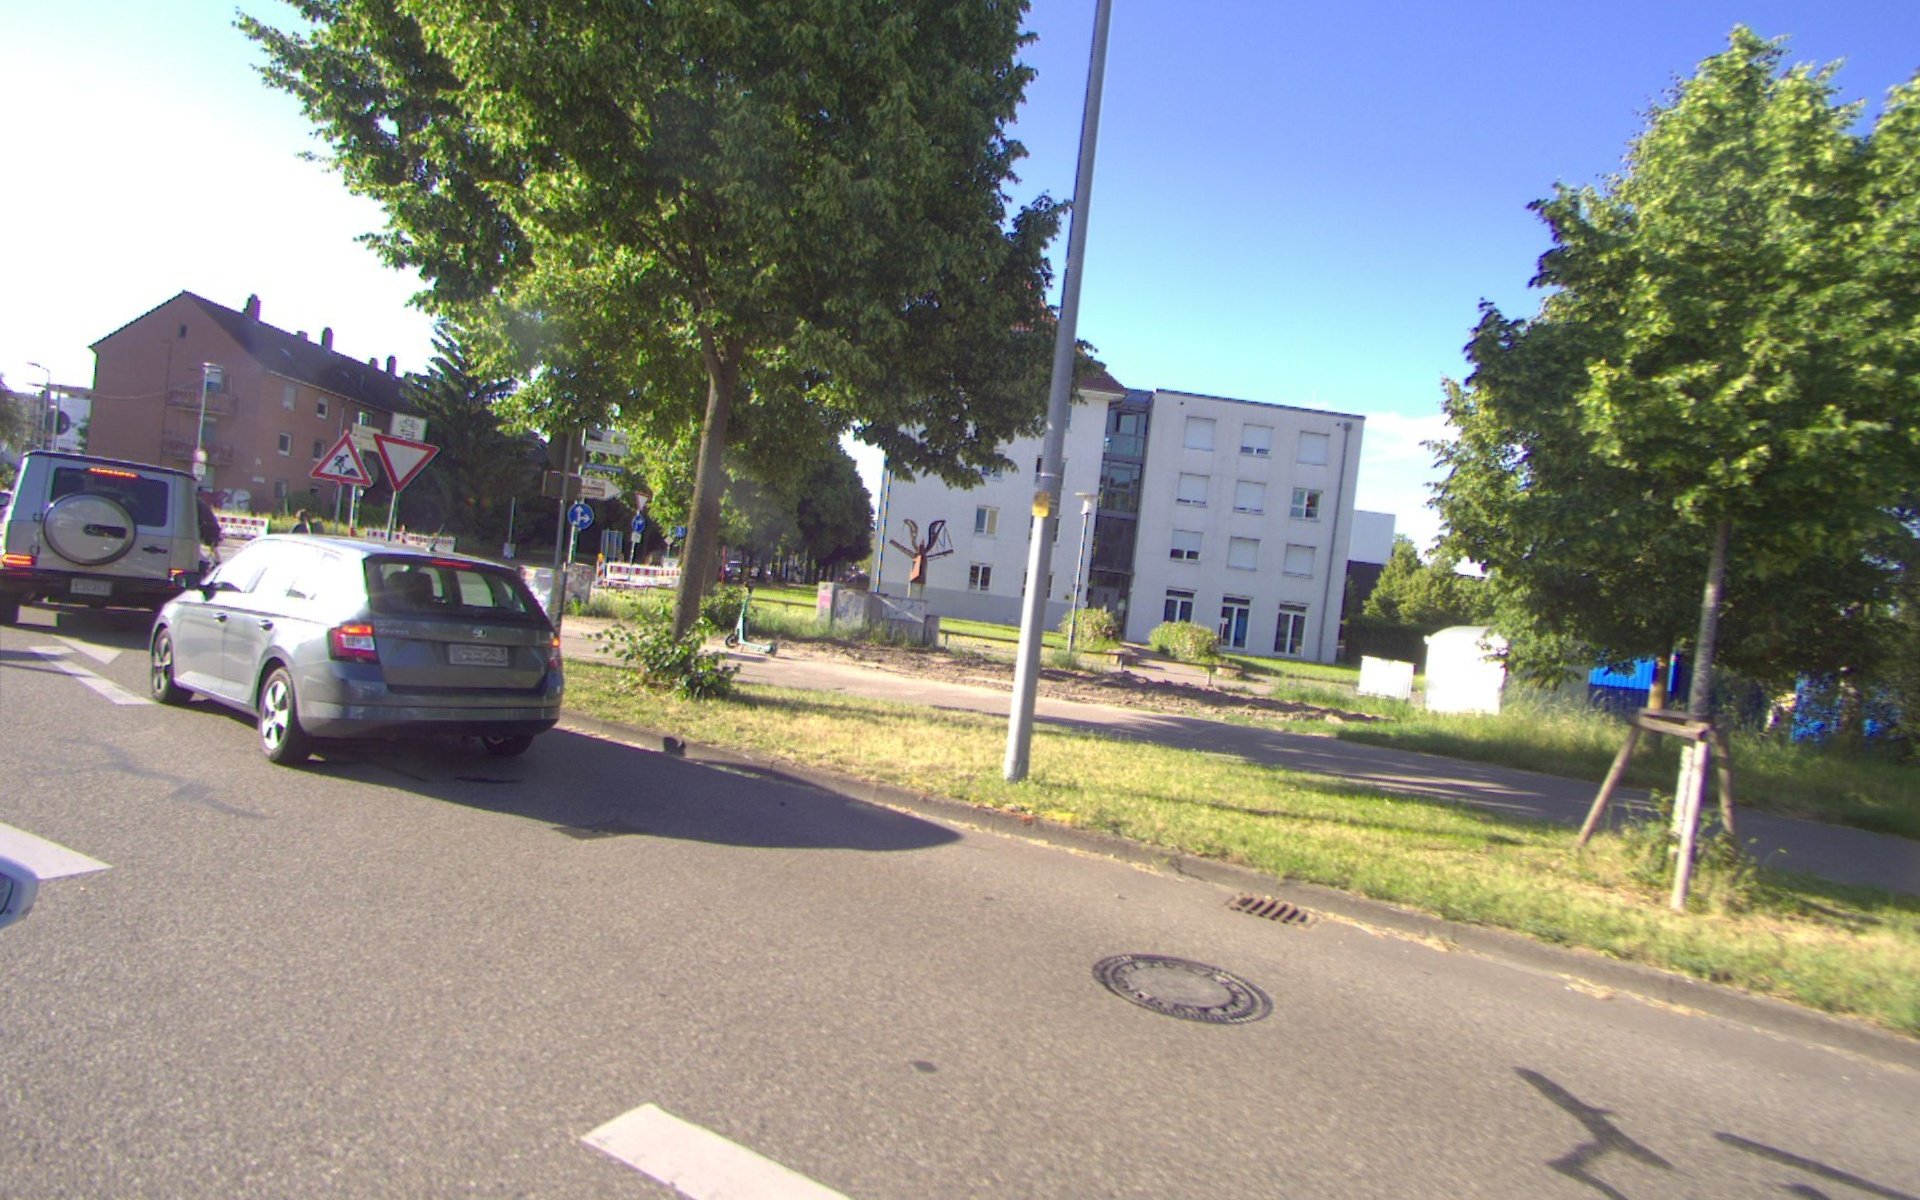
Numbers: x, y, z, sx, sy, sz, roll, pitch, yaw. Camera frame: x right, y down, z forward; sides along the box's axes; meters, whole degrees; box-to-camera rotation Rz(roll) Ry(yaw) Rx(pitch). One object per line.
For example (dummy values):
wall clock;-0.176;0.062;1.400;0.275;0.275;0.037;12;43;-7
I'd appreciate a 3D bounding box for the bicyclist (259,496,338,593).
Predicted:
bicyclist;-12.661;-1.050;19.271;0.882;1.685;0.660;7;0;3

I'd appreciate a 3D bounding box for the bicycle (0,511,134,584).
bicycle;-15.981;-0.921;17.886;1.799;1.040;0.657;8;-1;-21

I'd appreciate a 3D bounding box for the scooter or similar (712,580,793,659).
scooter or similar;-3.730;0.348;18.057;1.241;1.262;0.445;6;-1;20

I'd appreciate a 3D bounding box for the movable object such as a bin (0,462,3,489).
movable object such as a bin;-43.467;-4.811;43.629;3.946;2.806;2.416;7;-1;43

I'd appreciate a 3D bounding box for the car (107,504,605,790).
car;-4.657;0.215;7.521;4.089;1.454;1.713;7;0;37

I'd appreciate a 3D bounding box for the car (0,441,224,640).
car;-10.907;-0.774;12.526;4.691;1.920;1.992;7;0;45

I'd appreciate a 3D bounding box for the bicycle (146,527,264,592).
bicycle;-15.264;-0.804;20.362;1.790;1.040;0.660;7;0;1

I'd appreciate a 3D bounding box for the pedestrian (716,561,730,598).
pedestrian;-13.753;-1.182;58.294;0.463;2.039;0.455;7;2;6

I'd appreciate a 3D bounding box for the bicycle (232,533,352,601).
bicycle;-12.788;-0.620;19.275;1.789;1.040;0.660;7;0;3

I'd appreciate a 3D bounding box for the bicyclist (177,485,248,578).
bicyclist;-15.112;-1.377;20.345;0.797;1.752;0.654;6;1;1

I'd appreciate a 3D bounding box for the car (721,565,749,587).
car;-24.635;-2.628;110.109;1.963;1.893;4.001;8;-1;0

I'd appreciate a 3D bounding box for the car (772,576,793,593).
car;-24.413;-2.135;138.731;1.963;1.893;4.001;8;-1;0
